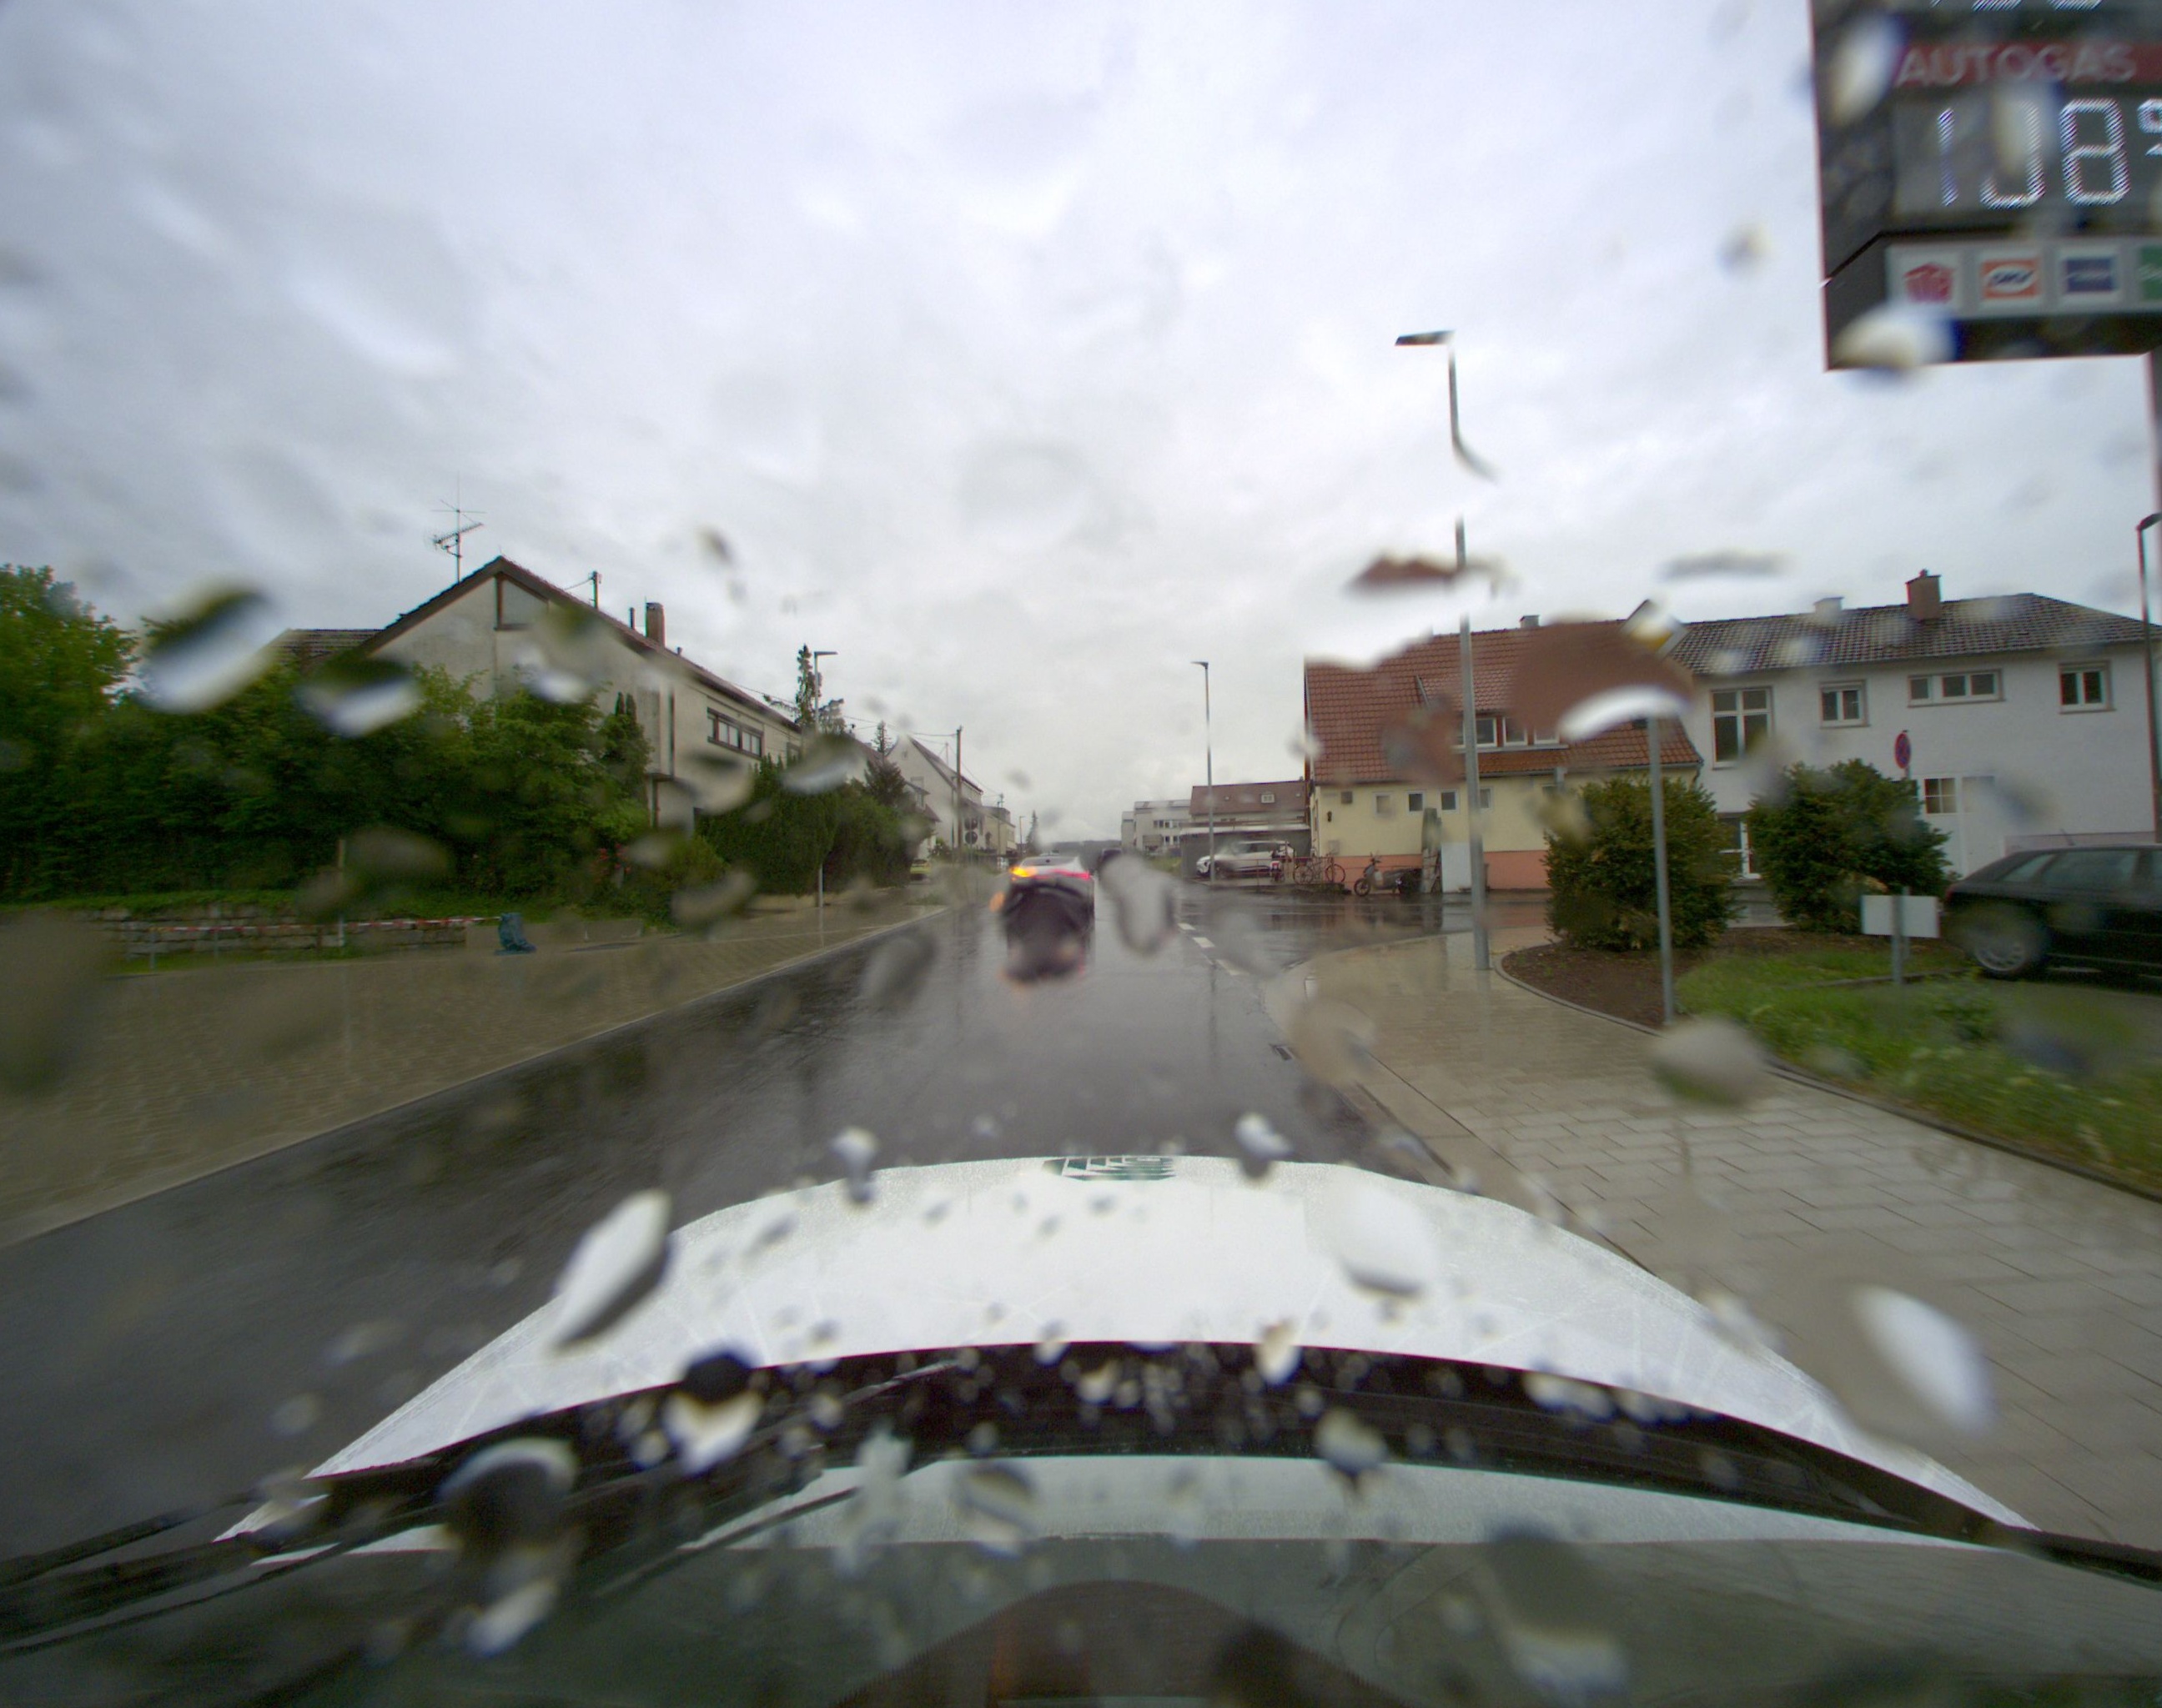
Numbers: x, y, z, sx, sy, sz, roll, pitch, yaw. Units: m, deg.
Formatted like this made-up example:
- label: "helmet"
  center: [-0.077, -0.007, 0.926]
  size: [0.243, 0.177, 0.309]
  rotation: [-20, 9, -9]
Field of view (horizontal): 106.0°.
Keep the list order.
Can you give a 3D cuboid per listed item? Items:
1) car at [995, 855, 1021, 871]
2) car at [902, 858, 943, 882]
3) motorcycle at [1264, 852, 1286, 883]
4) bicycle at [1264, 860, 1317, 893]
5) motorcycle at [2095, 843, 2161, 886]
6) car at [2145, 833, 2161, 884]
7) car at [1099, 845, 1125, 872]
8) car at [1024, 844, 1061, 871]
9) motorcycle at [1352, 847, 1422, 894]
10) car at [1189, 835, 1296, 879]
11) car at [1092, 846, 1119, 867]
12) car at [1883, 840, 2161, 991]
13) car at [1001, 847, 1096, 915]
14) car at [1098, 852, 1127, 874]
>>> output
- label: "car"
  center: [-7.199, 0.865, 80.375]
  size: [1.986, 1.510, 4.896]
  rotation: [1, -1, 1]
- label: "car"
  center: [-10.028, 1.014, 51.722]
  size: [1.772, 1.467, 3.458]
  rotation: [-1, -1, 2]
- label: "motorcycle"
  center: [7.224, 0.480, 30.349]
  size: [0.485, 1.096, 2.003]
  rotation: [-1, 0, 5]
- label: "bicycle"
  center: [7.203, 0.766, 28.008]
  size: [1.757, 1.096, 0.491]
  rotation: [-1, 0, 15]
- label: "motorcycle"
  center: [29.846, 0.283, 22.798]
  size: [2.022, 1.151, 0.490]
  rotation: [-1, -1, 7]
- label: "car"
  center: [31.162, 0.050, 21.024]
  size: [4.218, 1.376, 2.006]
  rotation: [-2, 0, 10]
- label: "car"
  center: [2.176, 0.314, 58.342]
  size: [1.762, 1.825, 4.575]
  rotation: [-1, -1, 1]
- label: "car"
  center: [-2.246, 0.240, 48.856]
  size: [1.922, 1.539, 4.321]
  rotation: [-1, -1, 1]
- label: "motorcycle"
  center: [9.773, 0.547, 26.093]
  size: [2.018, 1.456, 0.491]
  rotation: [-1, -1, 14]
- label: "car"
  center: [6.948, 0.155, 35.332]
  size: [4.203, 1.610, 1.860]
  rotation: [-4, -1, -1]
- label: "car"
  center: [1.917, 0.239, 65.115]
  size: [1.639, 1.575, 4.637]
  rotation: [-1, -1, -4]
- label: "car"
  center: [10.453, 0.531, 7.428]
  size: [1.688, 1.339, 4.327]
  rotation: [-1, -1, -8]
- label: "car"
  center: [-0.698, 0.639, 20.874]
  size: [1.985, 1.502, 4.673]
  rotation: [-2, -1, 3]
- label: "car"
  center: [1.938, 0.562, 51.541]
  size: [1.762, 1.336, 4.321]
  rotation: [-1, -1, 1]
